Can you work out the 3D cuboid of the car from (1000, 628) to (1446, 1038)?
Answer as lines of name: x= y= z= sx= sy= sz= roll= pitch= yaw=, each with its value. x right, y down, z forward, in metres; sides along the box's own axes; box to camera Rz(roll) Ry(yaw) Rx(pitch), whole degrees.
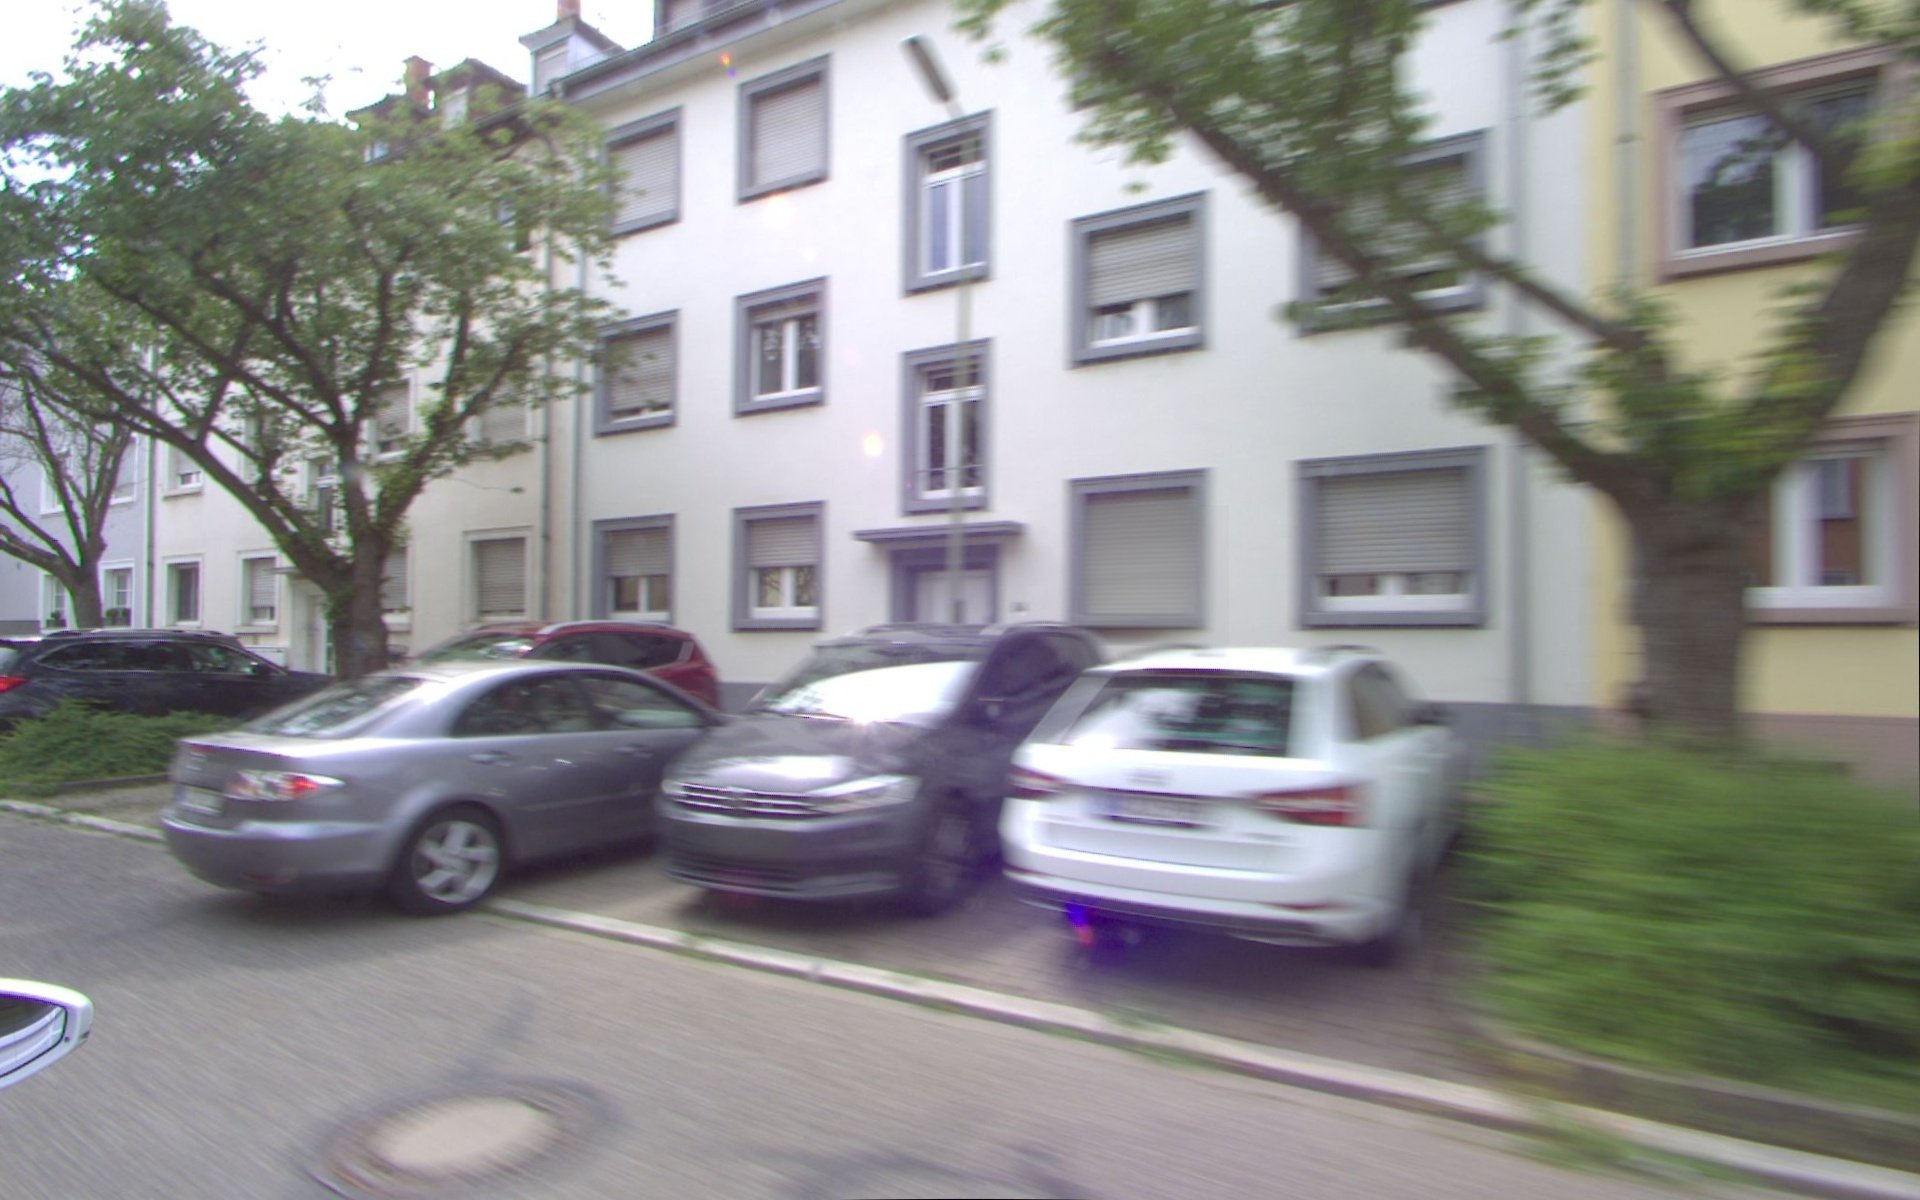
car: x=1.843 y=0.936 z=5.872 sx=1.613 sy=1.438 sz=3.983 roll=-1 pitch=-1 yaw=29

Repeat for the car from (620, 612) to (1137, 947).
car: x=-0.209 y=0.890 z=6.883 sx=1.613 sy=1.556 sz=3.983 roll=-1 pitch=-1 yaw=29

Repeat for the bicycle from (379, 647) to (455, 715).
bicycle: x=-9.310 y=1.370 z=17.157 sx=1.452 sy=1.095 sz=0.502 roll=-1 pitch=0 yaw=33

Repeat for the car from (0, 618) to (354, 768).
car: x=-10.669 y=1.087 z=13.208 sx=1.874 sy=1.618 sz=4.212 roll=-1 pitch=-1 yaw=27

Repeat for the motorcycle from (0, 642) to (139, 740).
motorcycle: x=-13.978 y=1.346 z=15.209 sx=0.704 sy=1.427 sz=2.225 roll=0 pitch=-2 yaw=27

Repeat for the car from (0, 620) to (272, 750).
car: x=-12.653 y=1.140 z=14.367 sx=1.874 sy=1.618 sz=4.212 roll=-1 pitch=-1 yaw=27

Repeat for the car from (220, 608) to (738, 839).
car: x=-4.347 y=0.960 z=9.758 sx=1.876 sy=1.699 sz=4.207 roll=-1 pitch=-1 yaw=31

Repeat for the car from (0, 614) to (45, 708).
car: x=-19.538 y=1.158 z=18.005 sx=1.876 sy=1.758 sz=4.207 roll=-1 pitch=-1 yaw=31

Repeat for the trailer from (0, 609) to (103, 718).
trailer: x=-17.119 y=1.107 z=17.523 sx=1.381 sy=1.855 sz=2.954 roll=-1 pitch=0 yaw=33

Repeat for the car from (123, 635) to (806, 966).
car: x=-2.992 y=1.042 z=6.963 sx=1.740 sy=1.474 sz=3.983 roll=-1 pitch=-1 yaw=29
